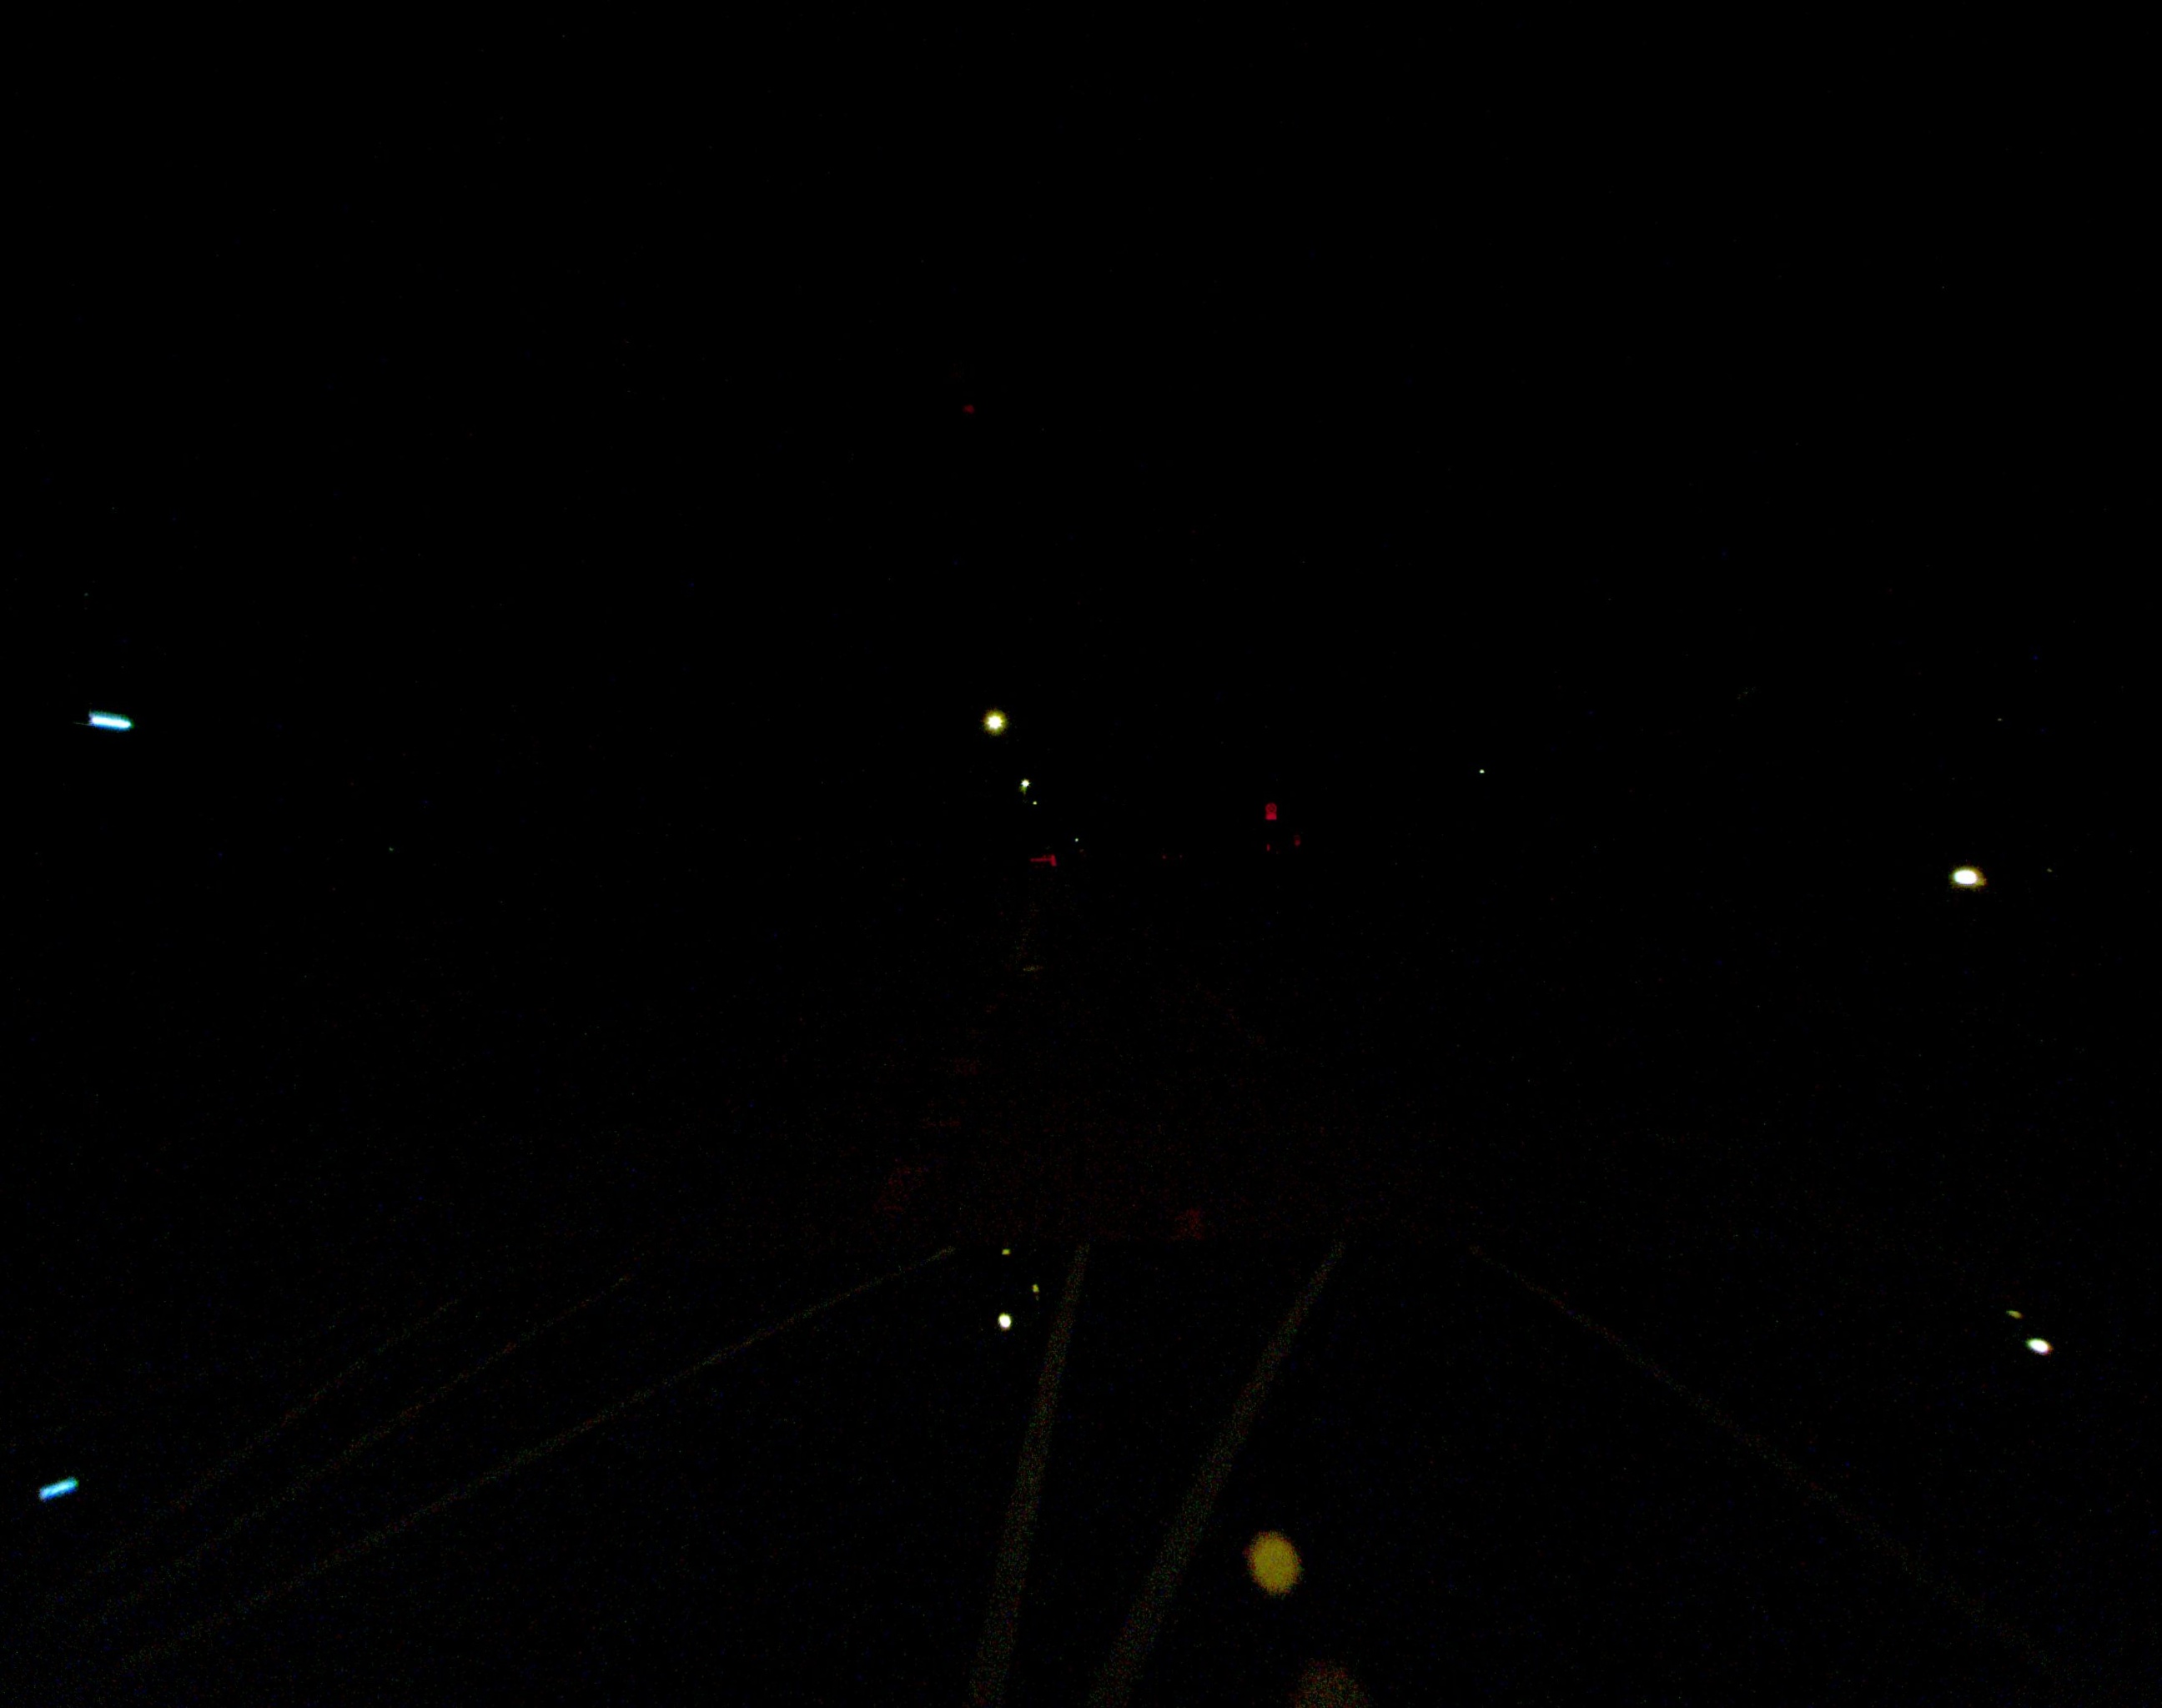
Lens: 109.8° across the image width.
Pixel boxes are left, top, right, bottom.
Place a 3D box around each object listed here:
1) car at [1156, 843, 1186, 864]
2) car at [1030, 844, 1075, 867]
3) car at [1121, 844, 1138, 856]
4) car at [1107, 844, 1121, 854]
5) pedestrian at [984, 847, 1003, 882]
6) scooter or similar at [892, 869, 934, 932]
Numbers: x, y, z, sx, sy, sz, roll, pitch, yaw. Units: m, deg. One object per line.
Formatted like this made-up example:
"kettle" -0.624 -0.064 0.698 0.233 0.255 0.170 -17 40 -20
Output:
"car" 7.215 -0.063 61.021 1.911 1.445 3.999 -3 2 1
"car" -2.595 0.139 70.760 3.997 1.820 1.913 -3 0 0
"car" 6.368 -0.573 100.483 1.911 1.445 3.999 -3 2 1
"car" 5.058 -0.795 117.602 1.911 1.445 3.999 -3 2 1
"pedestrian" -4.597 0.536 39.817 0.824 1.809 0.608 -3 2 1
"scooter or similar" -3.583 0.969 16.315 0.570 1.271 1.391 0 0 0
